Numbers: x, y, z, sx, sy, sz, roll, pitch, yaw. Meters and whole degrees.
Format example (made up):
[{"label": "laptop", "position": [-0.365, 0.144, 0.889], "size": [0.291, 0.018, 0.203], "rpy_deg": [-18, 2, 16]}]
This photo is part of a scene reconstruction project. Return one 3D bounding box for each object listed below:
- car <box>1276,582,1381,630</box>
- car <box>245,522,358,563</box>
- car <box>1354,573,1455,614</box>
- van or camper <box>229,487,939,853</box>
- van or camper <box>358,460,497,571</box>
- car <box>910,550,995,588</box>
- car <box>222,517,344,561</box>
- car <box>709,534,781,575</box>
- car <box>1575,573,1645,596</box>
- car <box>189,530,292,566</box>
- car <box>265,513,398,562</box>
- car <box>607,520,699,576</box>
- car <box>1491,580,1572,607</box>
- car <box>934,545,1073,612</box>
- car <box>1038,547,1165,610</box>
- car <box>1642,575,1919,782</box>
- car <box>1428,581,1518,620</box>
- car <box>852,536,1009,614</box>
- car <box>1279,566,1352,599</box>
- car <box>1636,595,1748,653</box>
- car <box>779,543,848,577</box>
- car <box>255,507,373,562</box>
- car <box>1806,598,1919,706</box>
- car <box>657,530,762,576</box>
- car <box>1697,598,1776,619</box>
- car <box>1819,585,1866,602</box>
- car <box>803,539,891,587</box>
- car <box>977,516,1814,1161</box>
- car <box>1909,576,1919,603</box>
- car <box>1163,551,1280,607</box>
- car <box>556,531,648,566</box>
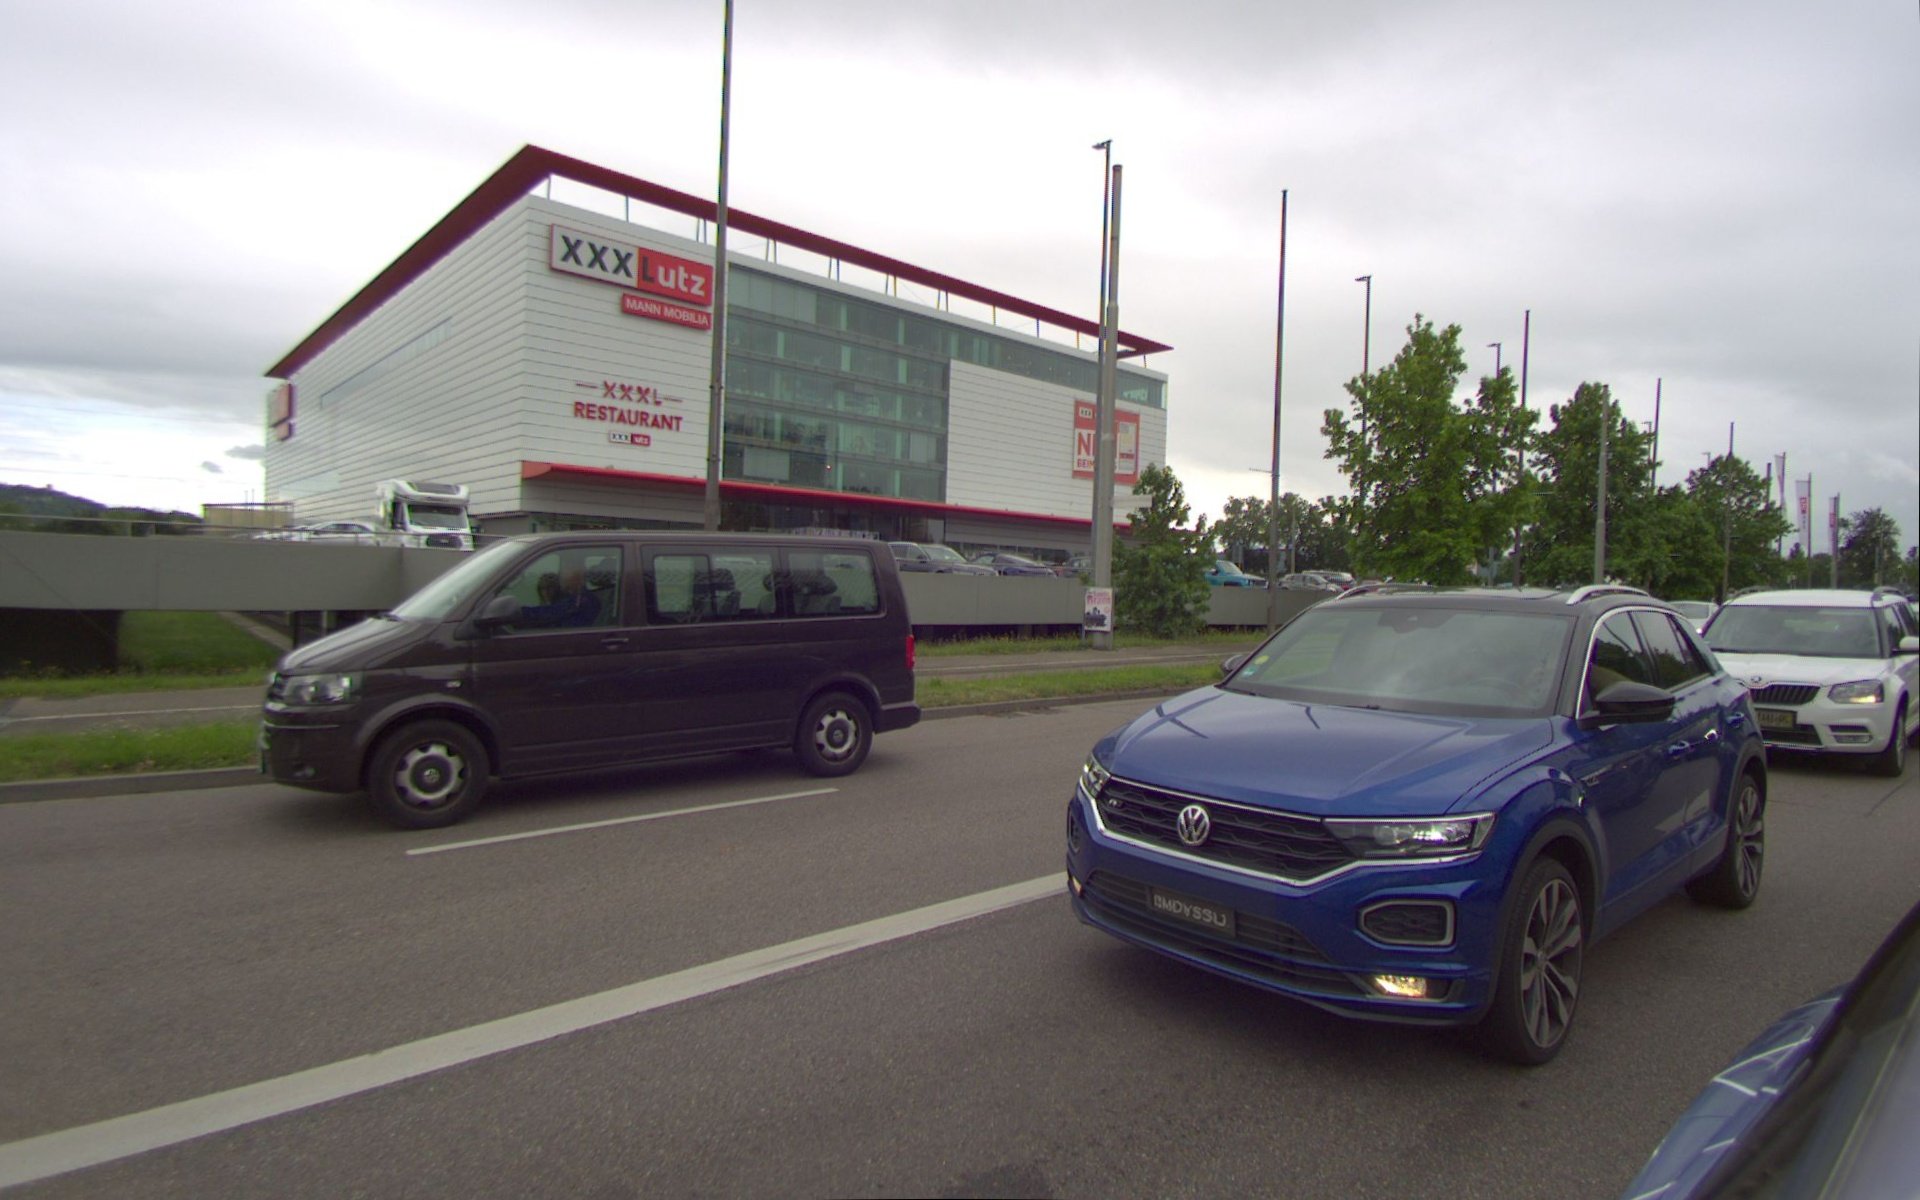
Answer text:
[{"label": "car", "position": [16.416, 0.229, 45.179], "size": [1.966, 2.039, 3.991], "rpy_deg": [0, 0, -42]}, {"label": "car", "position": [-30.167, -2.607, 46.418], "size": [4.185, 1.697, 1.774], "rpy_deg": [-1, 0, -41]}, {"label": "car", "position": [22.654, -0.331, 51.633], "size": [1.966, 2.039, 4.317], "rpy_deg": [0, 0, -42]}, {"label": "van or camper", "position": [-2.750, 0.359, 7.987], "size": [4.852, 2.039, 2.163], "rpy_deg": [-1, 0, -38]}, {"label": "van or camper", "position": [-17.993, -2.638, 33.951], "size": [2.667, 3.175, 7.226], "rpy_deg": [0, 0, -40]}, {"label": "car", "position": [-0.399, -1.459, 48.814], "size": [1.967, 1.761, 3.991], "rpy_deg": [-1, 0, -43]}, {"label": "car", "position": [-29.041, -2.591, 43.483], "size": [4.185, 1.697, 1.774], "rpy_deg": [-1, 0, -41]}, {"label": "car", "position": [-11.356, -2.354, 53.386], "size": [1.966, 2.039, 3.991], "rpy_deg": [0, 0, -42]}, {"label": "car", "position": [47.510, -1.114, 73.992], "size": [1.765, 1.585, 3.994], "rpy_deg": [-1, 0, -40]}, {"label": "car", "position": [-36.771, -2.629, 51.778], "size": [4.185, 1.697, 1.774], "rpy_deg": [-1, 0, -41]}, {"label": "car", "position": [-24.307, -2.375, 39.223], "size": [4.185, 1.697, 1.774], "rpy_deg": [-1, 0, -41]}, {"label": "car", "position": [-11.705, -1.911, 38.460], "size": [1.839, 1.972, 3.859], "rpy_deg": [0, 0, -44]}, {"label": "car", "position": [35.035, -0.413, 62.141], "size": [1.765, 1.585, 3.994], "rpy_deg": [-1, 0, -40]}, {"label": "car", "position": [1.266, -0.622, 30.622], "size": [1.967, 1.872, 3.991], "rpy_deg": [-1, 0, -43]}, {"label": "car", "position": [4.777, -0.707, 34.524], "size": [1.966, 2.039, 3.991], "rpy_deg": [0, 0, -42]}, {"label": "car", "position": [8.581, 0.599, 10.142], "size": [4.297, 1.645, 1.798], "rpy_deg": [-1, 0, -40]}, {"label": "car", "position": [28.061, 0.015, 55.413], "size": [1.965, 2.039, 3.994], "rpy_deg": [0, 0, -41]}, {"label": "car", "position": [-0.907, -0.672, 28.643], "size": [1.967, 2.039, 4.522], "rpy_deg": [0, 0, -43]}, {"label": "car", "position": [22.792, -1.096, 65.050], "size": [1.966, 2.039, 3.991], "rpy_deg": [0, 0, -42]}, {"label": "car", "position": [19.473, 0.585, 26.869], "size": [3.860, 1.389, 1.691], "rpy_deg": [-1, 1, -43]}, {"label": "car", "position": [-8.283, -2.202, 56.963], "size": [1.967, 1.761, 3.991], "rpy_deg": [-1, 0, -43]}, {"label": "car", "position": [-26.705, -2.666, 41.878], "size": [3.929, 2.039, 1.998], "rpy_deg": [-1, 0, -40]}, {"label": "car", "position": [14.466, 0.713, 15.412], "size": [4.145, 1.433, 1.800], "rpy_deg": [-1, 0, -41]}, {"label": "car", "position": [-8.712, -1.584, 35.049], "size": [1.839, 1.455, 3.984], "rpy_deg": [-1, 1, -44]}, {"label": "car", "position": [55.484, 0.553, 72.337], "size": [1.771, 1.433, 4.212], "rpy_deg": [-1, 1, -41]}, {"label": "car", "position": [101.620, -0.738, 116.550], "size": [3.987, 1.819, 1.969], "rpy_deg": [3, 1, 44]}, {"label": "car", "position": [-5.149, -1.630, 45.675], "size": [1.965, 2.039, 4.174], "rpy_deg": [0, 0, -41]}, {"label": "car", "position": [2.281, 0.581, 4.667], "size": [4.255, 1.642, 1.845], "rpy_deg": [-1, 0, -40]}, {"label": "car", "position": [83.093, -0.845, 86.996], "size": [3.933, 2.270, 1.996], "rpy_deg": [1, 1, -44]}, {"label": "car", "position": [10.078, -0.796, 39.186], "size": [1.966, 2.039, 3.991], "rpy_deg": [0, 0, -42]}, {"label": "car", "position": [-18.713, -2.664, 53.012], "size": [4.185, 1.697, 1.774], "rpy_deg": [-1, 0, -41]}]
